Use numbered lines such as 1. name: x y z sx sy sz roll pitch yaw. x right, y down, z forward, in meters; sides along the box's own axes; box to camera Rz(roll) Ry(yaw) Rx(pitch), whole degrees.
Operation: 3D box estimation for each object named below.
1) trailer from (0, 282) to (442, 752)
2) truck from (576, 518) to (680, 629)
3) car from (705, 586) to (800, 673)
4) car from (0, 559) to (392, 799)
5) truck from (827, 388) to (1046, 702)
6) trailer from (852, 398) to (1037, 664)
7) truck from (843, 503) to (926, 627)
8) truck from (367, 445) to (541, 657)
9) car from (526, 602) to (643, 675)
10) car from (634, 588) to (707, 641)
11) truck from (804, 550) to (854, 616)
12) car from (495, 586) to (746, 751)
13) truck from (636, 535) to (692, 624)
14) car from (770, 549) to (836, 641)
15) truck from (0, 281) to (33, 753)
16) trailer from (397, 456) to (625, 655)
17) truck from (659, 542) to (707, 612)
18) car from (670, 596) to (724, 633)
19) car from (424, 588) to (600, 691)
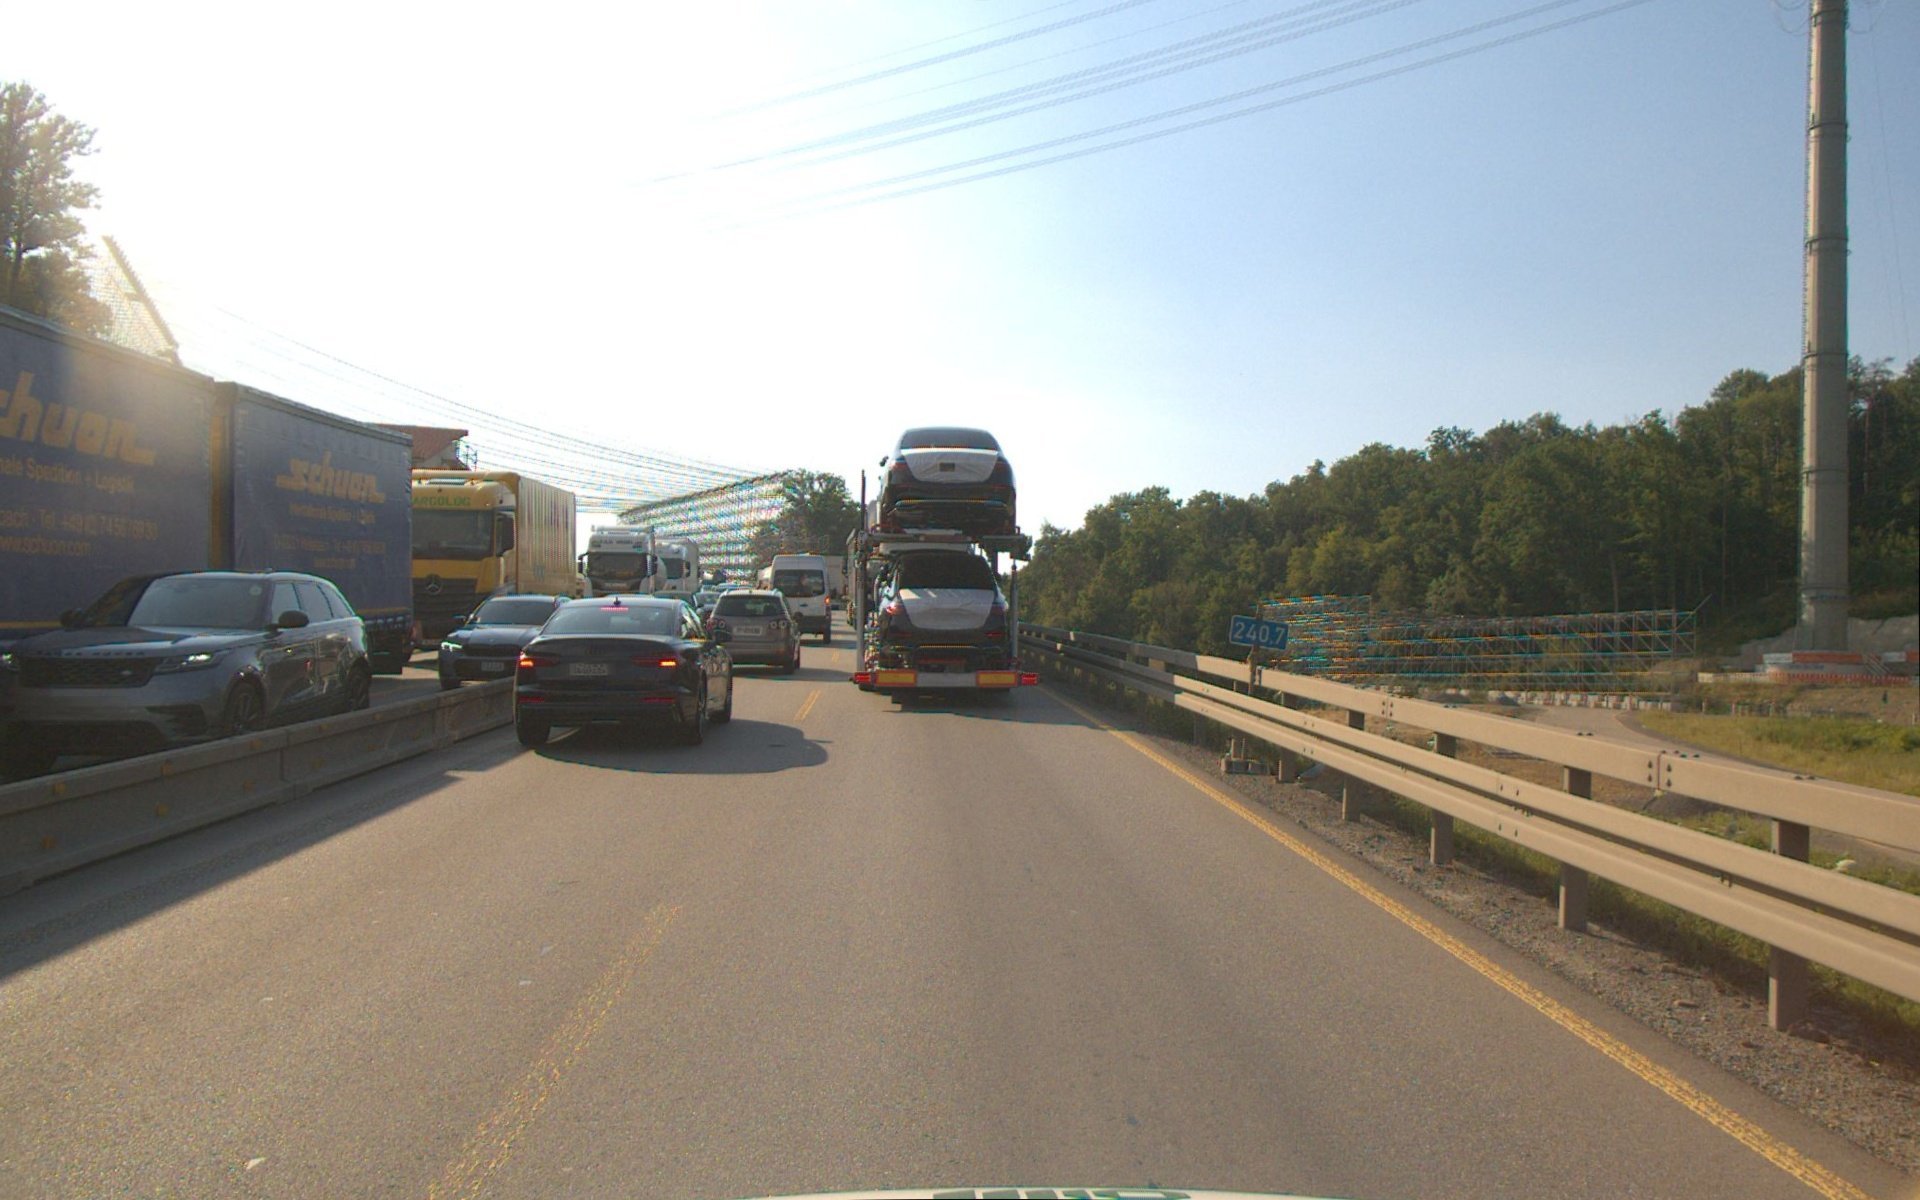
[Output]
1. trailer: -10.183 -0.653 20.939 2.660 4.207 16.742 0 -1 -2
2. truck: -13.457 -0.865 68.174 2.755 4.039 13.875 1 -1 -6
3. car: -4.039 0.571 32.660 1.667 1.615 4.142 0 -1 -5
4. car: -6.611 0.605 14.380 1.888 1.731 4.689 0 -1 -2
5. truck: -0.313 -0.675 24.263 2.811 4.050 5.770 0 -1 0
6. trailer: -0.718 -0.960 32.927 2.818 4.064 15.266 0 -1 -4
7. truck: -3.274 -1.410 69.226 3.164 4.758 11.687 0 1 -4
8. truck: -10.793 -0.966 35.680 2.640 4.270 4.394 0 -1 -4
9. car: -8.149 0.824 36.273 1.761 1.478 4.612 0 -1 -3
10. car: -8.770 0.452 50.354 1.682 1.534 4.288 0 -1 -3
11. truck: -9.825 -1.272 125.493 3.576 4.758 11.687 0 1 -4
12. car: -3.498 0.654 18.026 1.902 1.506 5.218 -1 0 -3
13. truck: -15.019 -0.967 84.267 2.397 4.346 6.312 0 -1 -6
14. car: -4.844 -0.123 51.537 1.940 2.731 4.143 0 -1 -4
15. truck: -9.787 -0.770 12.335 2.647 4.213 5.791 0 -1 -3
16. trailer: -11.284 -0.861 43.625 2.647 4.277 15.984 0 -1 -4
17. truck: -17.771 -1.429 106.350 2.839 4.346 5.760 0 -1 -8
18. car: -10.565 0.603 66.709 1.705 1.426 4.898 0 -1 -4
19. car: -7.175 0.613 26.963 1.752 1.524 4.722 0 -1 -2
